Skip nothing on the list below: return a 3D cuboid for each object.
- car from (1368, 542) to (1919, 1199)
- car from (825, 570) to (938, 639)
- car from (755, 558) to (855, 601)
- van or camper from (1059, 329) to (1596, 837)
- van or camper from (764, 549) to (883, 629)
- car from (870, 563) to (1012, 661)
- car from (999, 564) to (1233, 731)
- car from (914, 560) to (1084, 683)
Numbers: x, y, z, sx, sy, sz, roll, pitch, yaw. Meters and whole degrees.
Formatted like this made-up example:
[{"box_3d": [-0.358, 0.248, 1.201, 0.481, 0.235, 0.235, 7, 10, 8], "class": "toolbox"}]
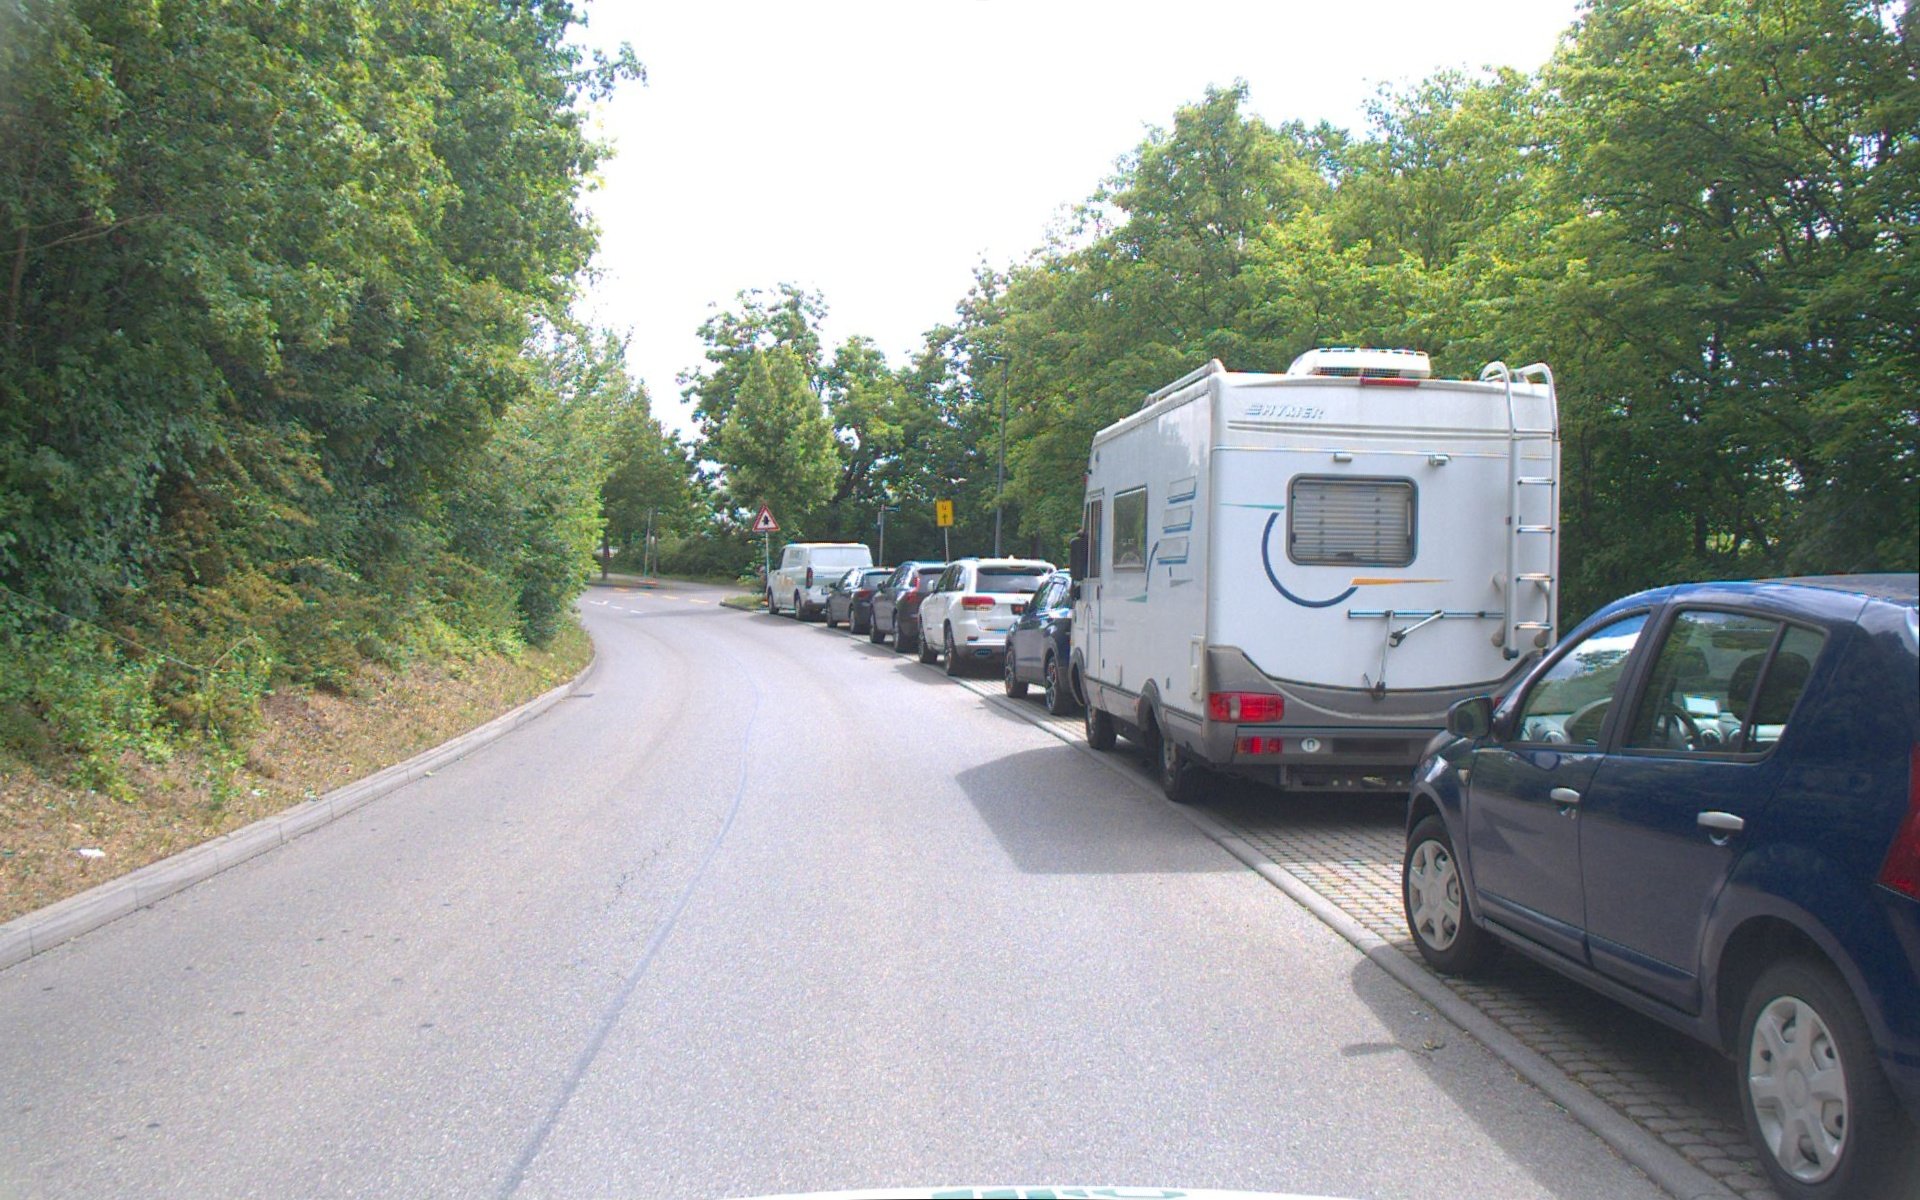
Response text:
[{"box_3d": [2.744, 0.665, 5.216, 1.695, 1.545, 3.885, 0, -1, -5], "class": "car"}, {"box_3d": [-1.881, 0.064, 38.456, 1.768, 1.489, 3.984, 1, 1, -16], "class": "car"}, {"box_3d": [-5.847, -0.786, 62.200, 3.479, 1.506, 1.775, 0, 3, -16], "class": "car"}, {"box_3d": [2.363, -0.125, 12.799, 2.287, 2.919, 6.145, 2, 1, -5], "class": "van or camper"}, {"box_3d": [-3.718, -0.359, 44.048, 1.963, 1.953, 5.238, -1, 2, -19], "class": "van or camper"}, {"box_3d": [-0.450, 0.167, 31.875, 1.958, 1.654, 4.266, -2, 2, -11], "class": "car"}, {"box_3d": [1.687, 0.478, 19.284, 1.679, 1.619, 3.992, 5, 0, -9], "class": "car"}, {"box_3d": [0.506, 0.261, 26.084, 1.837, 1.718, 4.570, 2, 1, -9], "class": "car"}]
